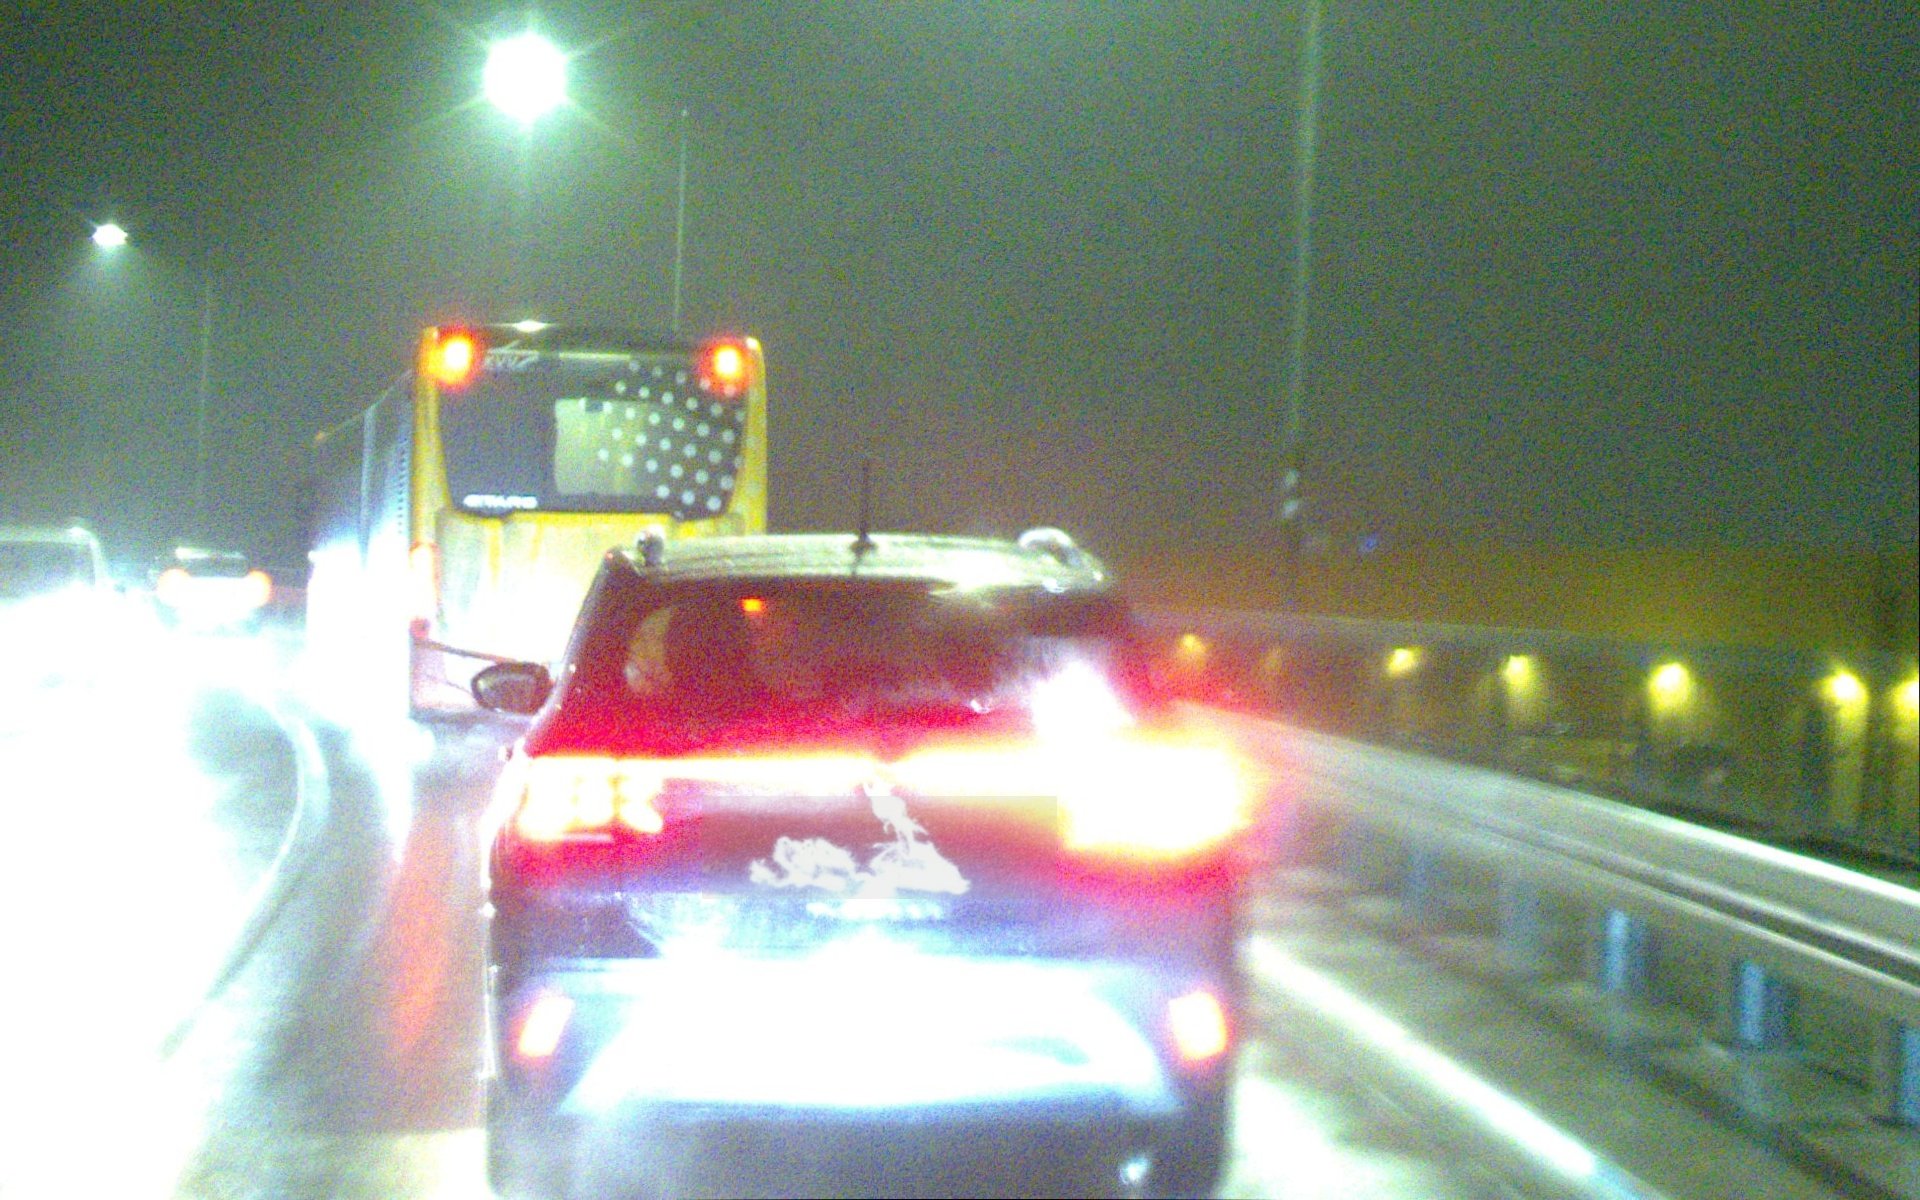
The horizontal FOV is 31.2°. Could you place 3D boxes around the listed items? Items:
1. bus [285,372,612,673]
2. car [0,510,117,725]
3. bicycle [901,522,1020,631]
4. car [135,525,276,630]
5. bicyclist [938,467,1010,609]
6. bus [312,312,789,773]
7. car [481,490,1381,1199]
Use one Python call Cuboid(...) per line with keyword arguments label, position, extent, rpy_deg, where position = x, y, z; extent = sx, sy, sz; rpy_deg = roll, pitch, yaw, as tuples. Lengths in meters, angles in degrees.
Cuboid(label="bus", position=(-6.115, -0.901, 39.935), extent=(3.048, 3.121, 8.081), rpy_deg=(0, 1, -13))
Cuboid(label="car", position=(-8.793, 0.129, 31.914), extent=(1.753, 1.854, 4.001), rpy_deg=(-1, 1, -13))
Cuboid(label="bicycle", position=(-0.015, -0.237, 33.771), extent=(0.484, 1.031, 2.172), rpy_deg=(1, 0, -19))
Cuboid(label="car", position=(-12.886, -0.363, 58.584), extent=(1.636, 1.650, 3.710), rpy_deg=(-2, 0, -23))
Cuboid(label="bicyclist", position=(0.132, -0.602, 33.354), extent=(0.452, 1.345, 0.765), rpy_deg=(2, 1, -17))
Cuboid(label="bus", position=(-3.963, -0.532, 29.826), extent=(3.082, 3.122, 12.701), rpy_deg=(0, 1, -11))
Cuboid(label="car", position=(-0.319, 0.560, 9.154), extent=(1.855, 1.581, 4.001), rpy_deg=(1, 0, -8))
